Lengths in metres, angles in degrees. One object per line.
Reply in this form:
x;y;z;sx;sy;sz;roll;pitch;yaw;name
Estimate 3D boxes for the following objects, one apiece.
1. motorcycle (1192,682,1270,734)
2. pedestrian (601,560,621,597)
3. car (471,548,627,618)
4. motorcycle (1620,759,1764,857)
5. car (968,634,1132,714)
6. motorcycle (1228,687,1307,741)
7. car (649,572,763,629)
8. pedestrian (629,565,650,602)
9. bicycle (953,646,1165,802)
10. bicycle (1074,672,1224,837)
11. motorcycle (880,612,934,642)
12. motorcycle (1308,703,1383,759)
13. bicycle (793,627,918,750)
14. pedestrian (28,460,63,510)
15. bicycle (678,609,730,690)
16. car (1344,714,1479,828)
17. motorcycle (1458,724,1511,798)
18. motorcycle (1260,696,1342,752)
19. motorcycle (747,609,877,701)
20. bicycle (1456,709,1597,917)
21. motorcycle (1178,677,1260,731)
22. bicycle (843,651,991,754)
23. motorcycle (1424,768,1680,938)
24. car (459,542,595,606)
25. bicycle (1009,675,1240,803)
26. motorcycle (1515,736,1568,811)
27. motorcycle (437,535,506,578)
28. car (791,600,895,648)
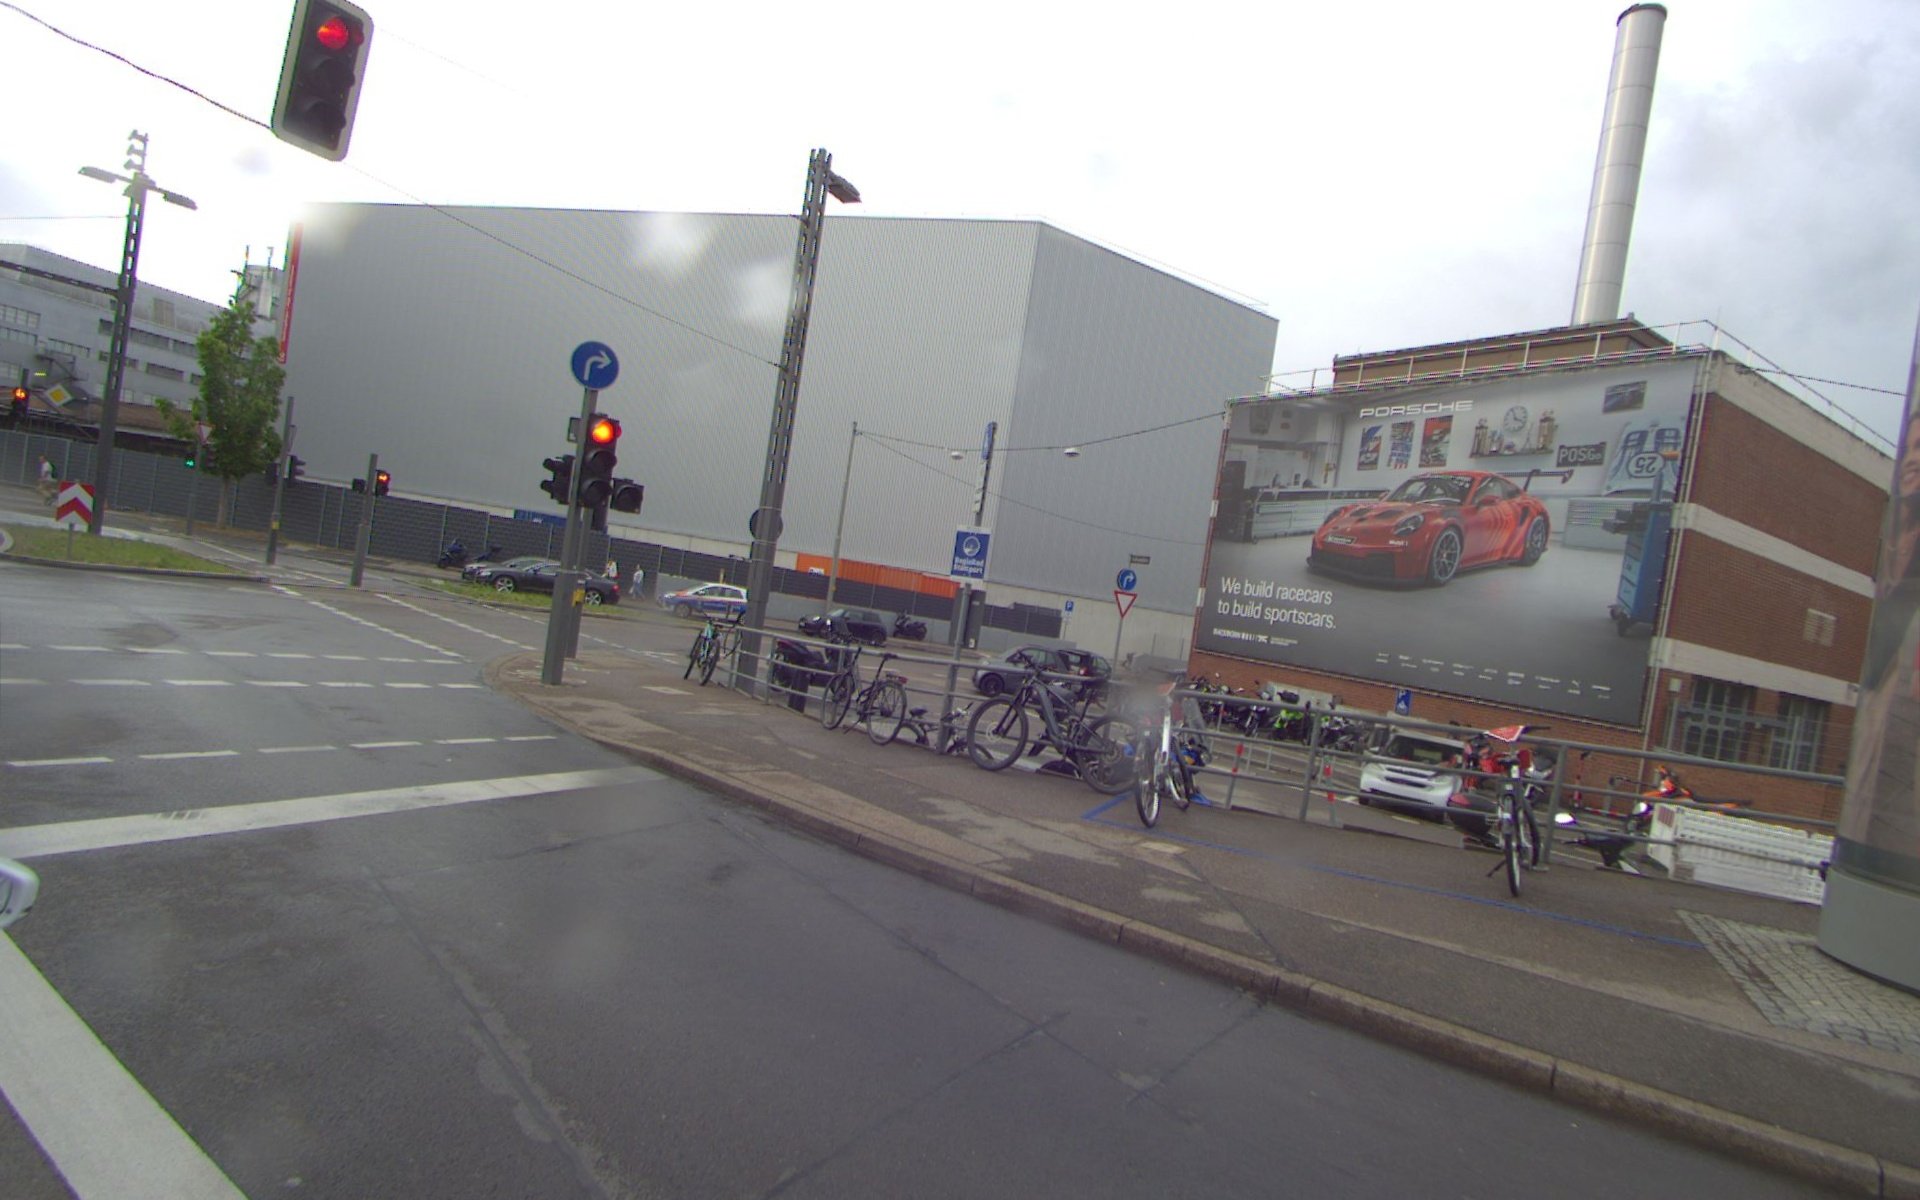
7.301;2.912;27.092;1.998;1.206;0.605;6;3;-27;motorcycle
-14.844;-0.915;42.746;0.605;1.499;0.421;7;0;-23;pedestrian
-13.710;-0.566;33.584;4.536;1.557;1.744;10;-1;-29;car
14.156;3.984;19.502;0.922;1.327;1.961;5;4;-41;motorcycle
2.408;1.993;27.513;4.091;1.547;1.836;8;-2;-3;car
8.000;2.969;26.115;1.999;1.206;0.605;6;3;-29;motorcycle
-10.123;0.020;40.140;3.939;1.620;1.897;10;-1;-29;car
-13.744;-0.699;43.108;0.642;1.499;0.436;7;0;-25;pedestrian
0.908;1.145;9.659;1.969;1.176;0.385;6;0;35;bicycle
1.635;1.226;8.461;0.666;1.154;1.774;6;-1;27;bicycle
-2.716;1.416;51.764;2.471;1.200;0.991;8;-1;-34;motorcycle
9.322;3.171;24.300;2.005;1.206;0.603;6;4;-38;motorcycle
-1.205;0.955;11.265;0.383;1.133;1.731;6;0;-39;bicycle
-32.846;-4.107;36.141;0.805;1.630;0.760;6;0;-41;pedestrian
-4.102;0.757;16.039;0.381;1.111;1.740;6;0;-25;bicycle
8.440;3.063;18.645;1.665;1.499;3.555;10;1;31;car
11.556;3.501;22.133;0.677;1.327;2.016;9;3;33;motorcycle
8.493;3.091;25.054;1.999;1.206;0.605;6;3;-29;motorcycle
-2.674;1.031;18.398;0.746;1.469;2.225;8;0;42;motorcycle
4.123;1.479;7.439;0.581;1.176;1.805;6;0;23;bicycle
7.259;2.907;28.214;1.987;1.206;0.608;8;3;-4;motorcycle
-0.527;1.150;11.538;1.789;0.916;0.530;6;-1;44;bicycle
5.077;2.150;8.765;1.718;1.002;0.699;8;0;21;motorcycle
-15.647;-0.924;36.409;4.254;1.557;1.744;10;-1;-29;car
1.648;1.370;10.264;2.138;0.916;0.693;6;-1;32;bicycle
12.369;3.654;21.387;0.564;1.327;1.863;10;3;37;motorcycle
-19.726;-1.753;40.616;2.335;1.360;0.648;8;0;-30;motorcycle
-5.011;1.031;43.124;3.958;1.408;1.744;10;-1;-29;car
